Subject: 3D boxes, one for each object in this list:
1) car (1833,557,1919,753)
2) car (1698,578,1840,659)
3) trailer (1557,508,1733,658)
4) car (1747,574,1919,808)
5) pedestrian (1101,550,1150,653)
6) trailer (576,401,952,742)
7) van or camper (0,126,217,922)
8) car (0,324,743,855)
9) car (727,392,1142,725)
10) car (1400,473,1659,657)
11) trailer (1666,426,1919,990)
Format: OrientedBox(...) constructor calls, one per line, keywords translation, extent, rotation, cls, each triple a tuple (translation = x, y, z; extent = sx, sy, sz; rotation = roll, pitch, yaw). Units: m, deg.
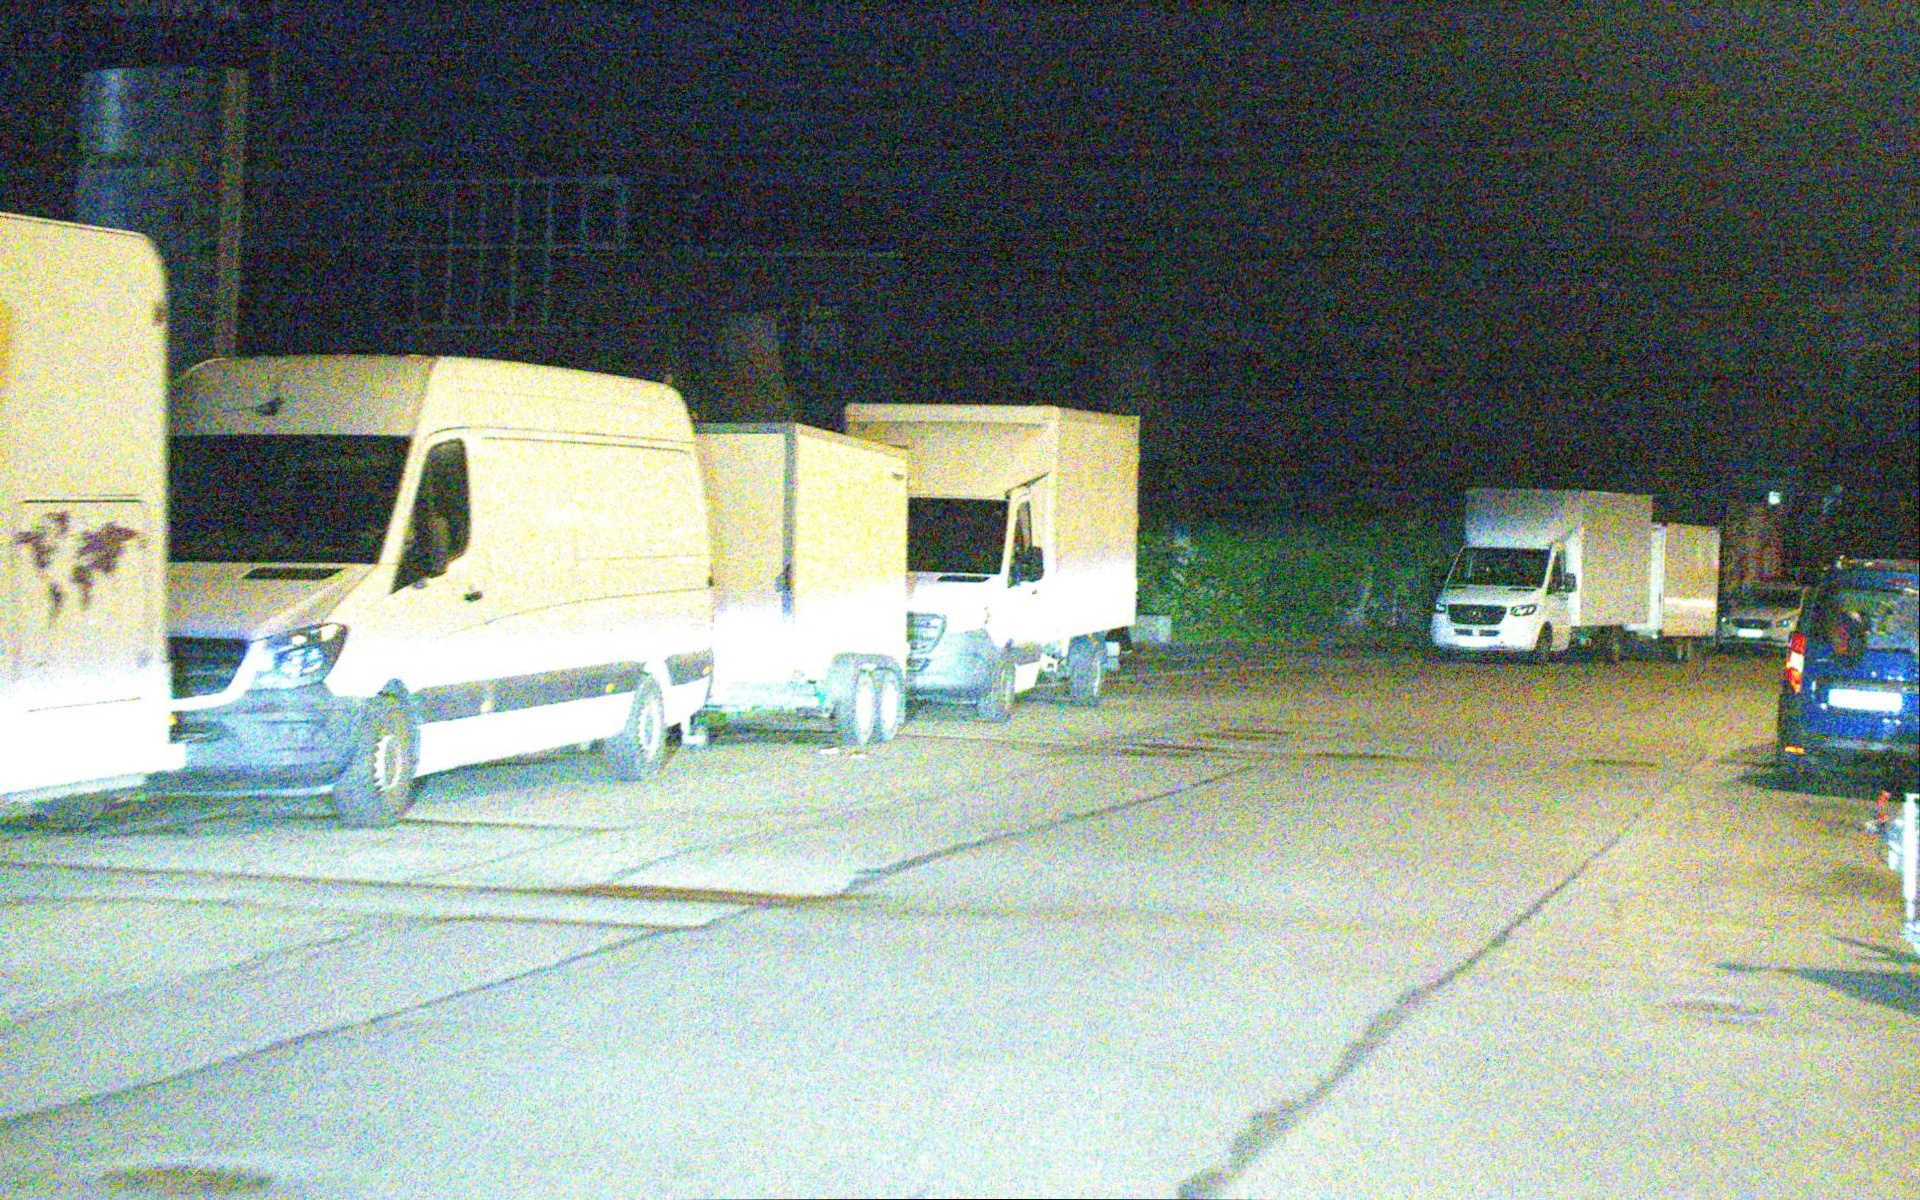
OrientedBox(translation=(9.752, 0.536, 34.594), extent=(1.722, 1.814, 3.997), rotation=(4, 1, 15), cls="car")
OrientedBox(translation=(18.587, 0.432, 78.826), extent=(1.997, 1.693, 4.199), rotation=(4, 2, 29), cls="car")
OrientedBox(translation=(13.724, -0.383, 68.703), extent=(1.997, 2.803, 4.695), rotation=(3, 3, 29), cls="trailer")
OrientedBox(translation=(7.295, 0.672, 27.495), extent=(1.722, 1.655, 3.997), rotation=(4, 1, 15), cls="car")
OrientedBox(translation=(2.743, 0.017, 56.975), extent=(0.675, 1.647, 0.653), rotation=(2, 3, -4), cls="pedestrian")
OrientedBox(translation=(-1.489, -0.271, 27.501), extent=(1.995, 2.519, 3.566), rotation=(1, 2, 14), cls="trailer")
OrientedBox(translation=(-5.457, -0.278, 11.731), extent=(2.521, 3.083, 7.440), rotation=(1, 1, 15), cls="van or camper")
OrientedBox(translation=(-3.532, -0.146, 20.581), extent=(2.520, 2.597, 7.087), rotation=(1, 1, 13), cls="car")
OrientedBox(translation=(-0.062, -0.453, 34.141), extent=(2.520, 2.917, 7.197), rotation=(1, 1, 13), cls="car")
OrientedBox(translation=(10.544, -0.673, 63.066), extent=(2.523, 3.160, 7.127), rotation=(2, 2, 28), cls="car")
OrientedBox(translation=(4.520, 0.430, 12.945), extent=(1.559, 2.153, 5.223), rotation=(1, 1, -13), cls="trailer")
